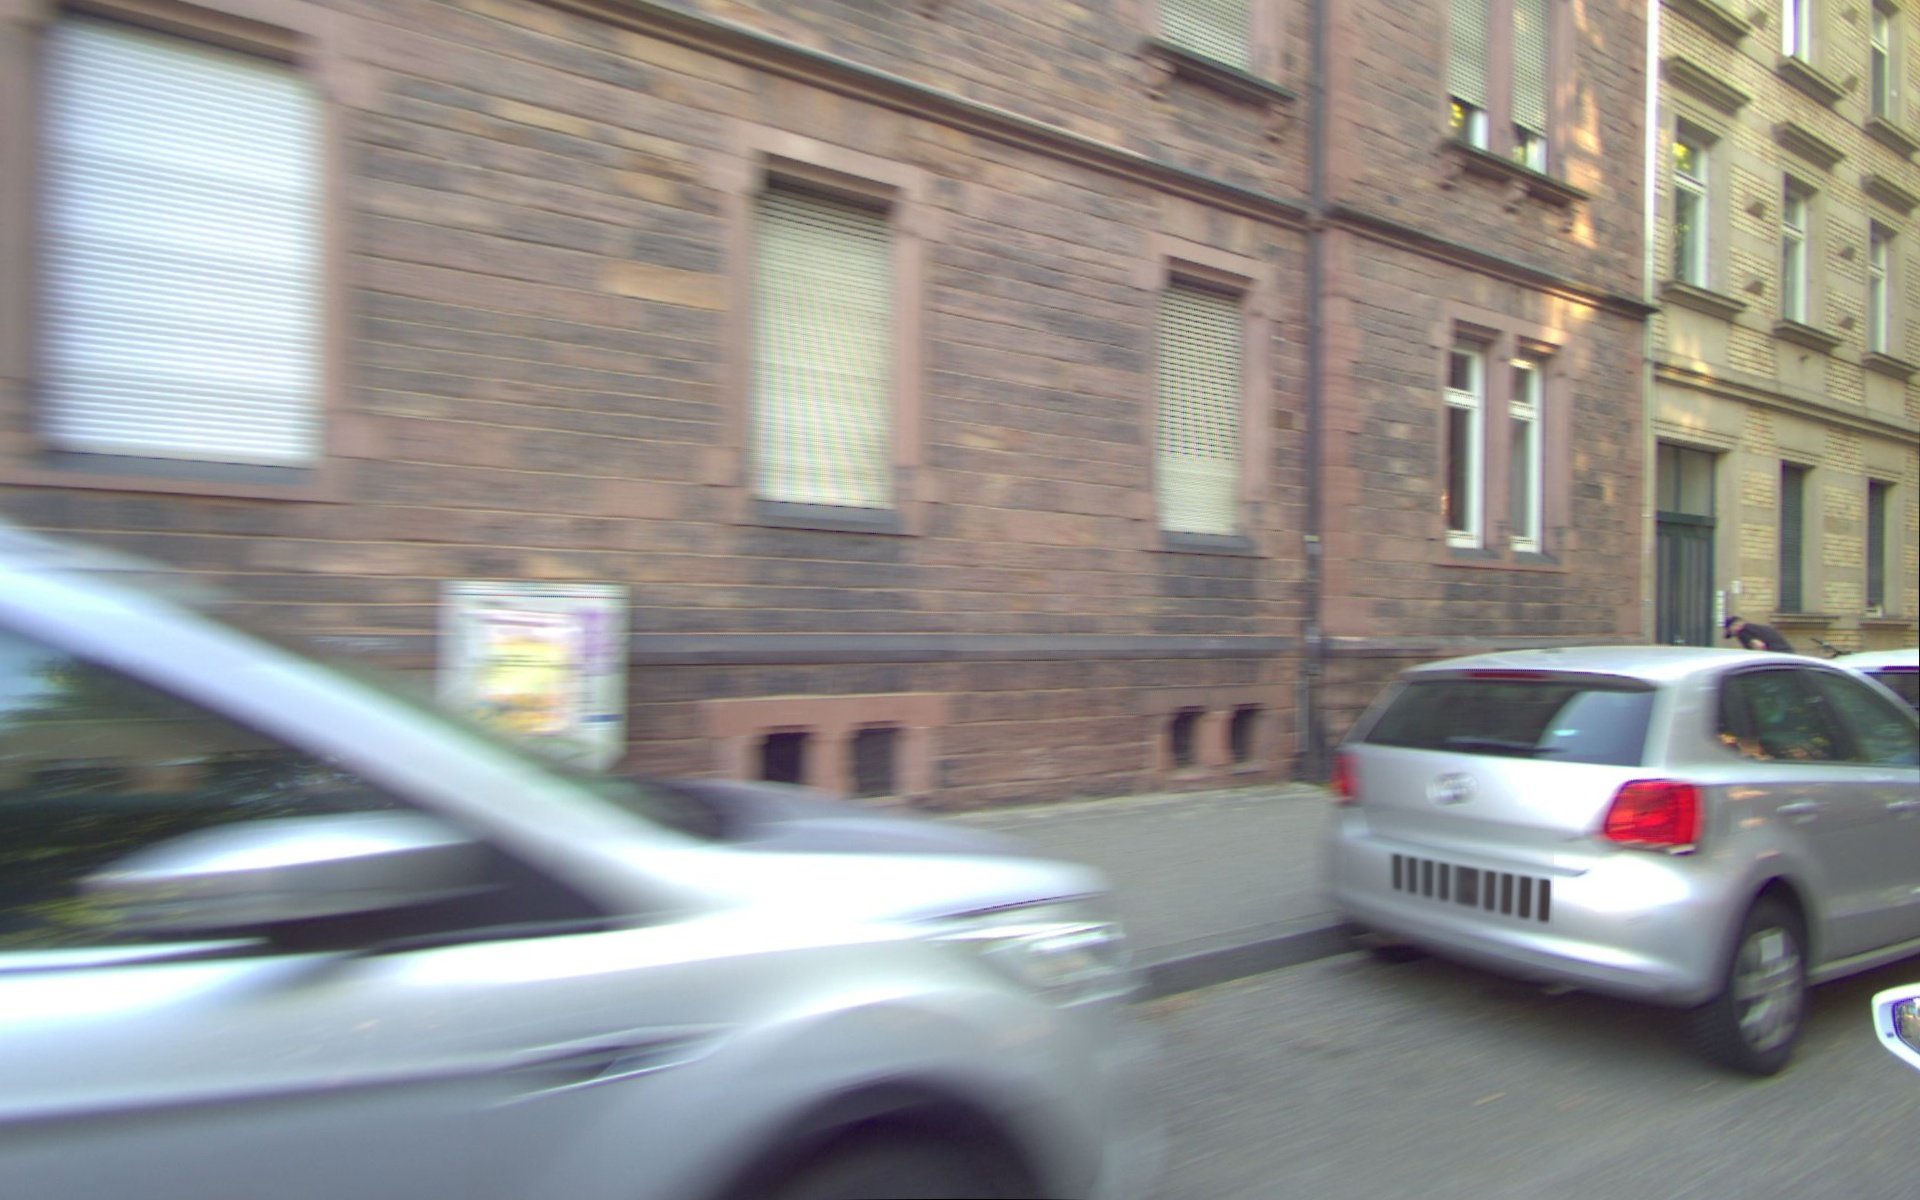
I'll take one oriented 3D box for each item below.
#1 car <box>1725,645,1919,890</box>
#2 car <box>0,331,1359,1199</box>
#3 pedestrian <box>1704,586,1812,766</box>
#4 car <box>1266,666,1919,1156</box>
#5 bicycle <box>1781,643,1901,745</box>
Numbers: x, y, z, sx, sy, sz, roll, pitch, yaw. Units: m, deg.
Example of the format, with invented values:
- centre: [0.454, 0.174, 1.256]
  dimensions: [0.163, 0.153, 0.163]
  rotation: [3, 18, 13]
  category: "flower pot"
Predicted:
- centre: [7.212, 1.040, 6.939]
  dimensions: [3.757, 1.435, 1.702]
  rotation: [2, -4, -29]
  category: "car"
- centre: [-1.473, 0.615, 1.659]
  dimensions: [4.226, 1.696, 1.702]
  rotation: [2, -4, -29]
  category: "car"
- centre: [9.093, 0.837, 11.450]
  dimensions: [0.755, 1.954, 0.761]
  rotation: [1, 0, -34]
  category: "pedestrian"
- centre: [3.427, 1.042, 4.716]
  dimensions: [3.757, 1.435, 1.702]
  rotation: [2, -4, -29]
  category: "car"
- centre: [11.036, 1.141, 12.568]
  dimensions: [1.823, 1.163, 0.567]
  rotation: [1, 2, -31]
  category: "bicycle"
